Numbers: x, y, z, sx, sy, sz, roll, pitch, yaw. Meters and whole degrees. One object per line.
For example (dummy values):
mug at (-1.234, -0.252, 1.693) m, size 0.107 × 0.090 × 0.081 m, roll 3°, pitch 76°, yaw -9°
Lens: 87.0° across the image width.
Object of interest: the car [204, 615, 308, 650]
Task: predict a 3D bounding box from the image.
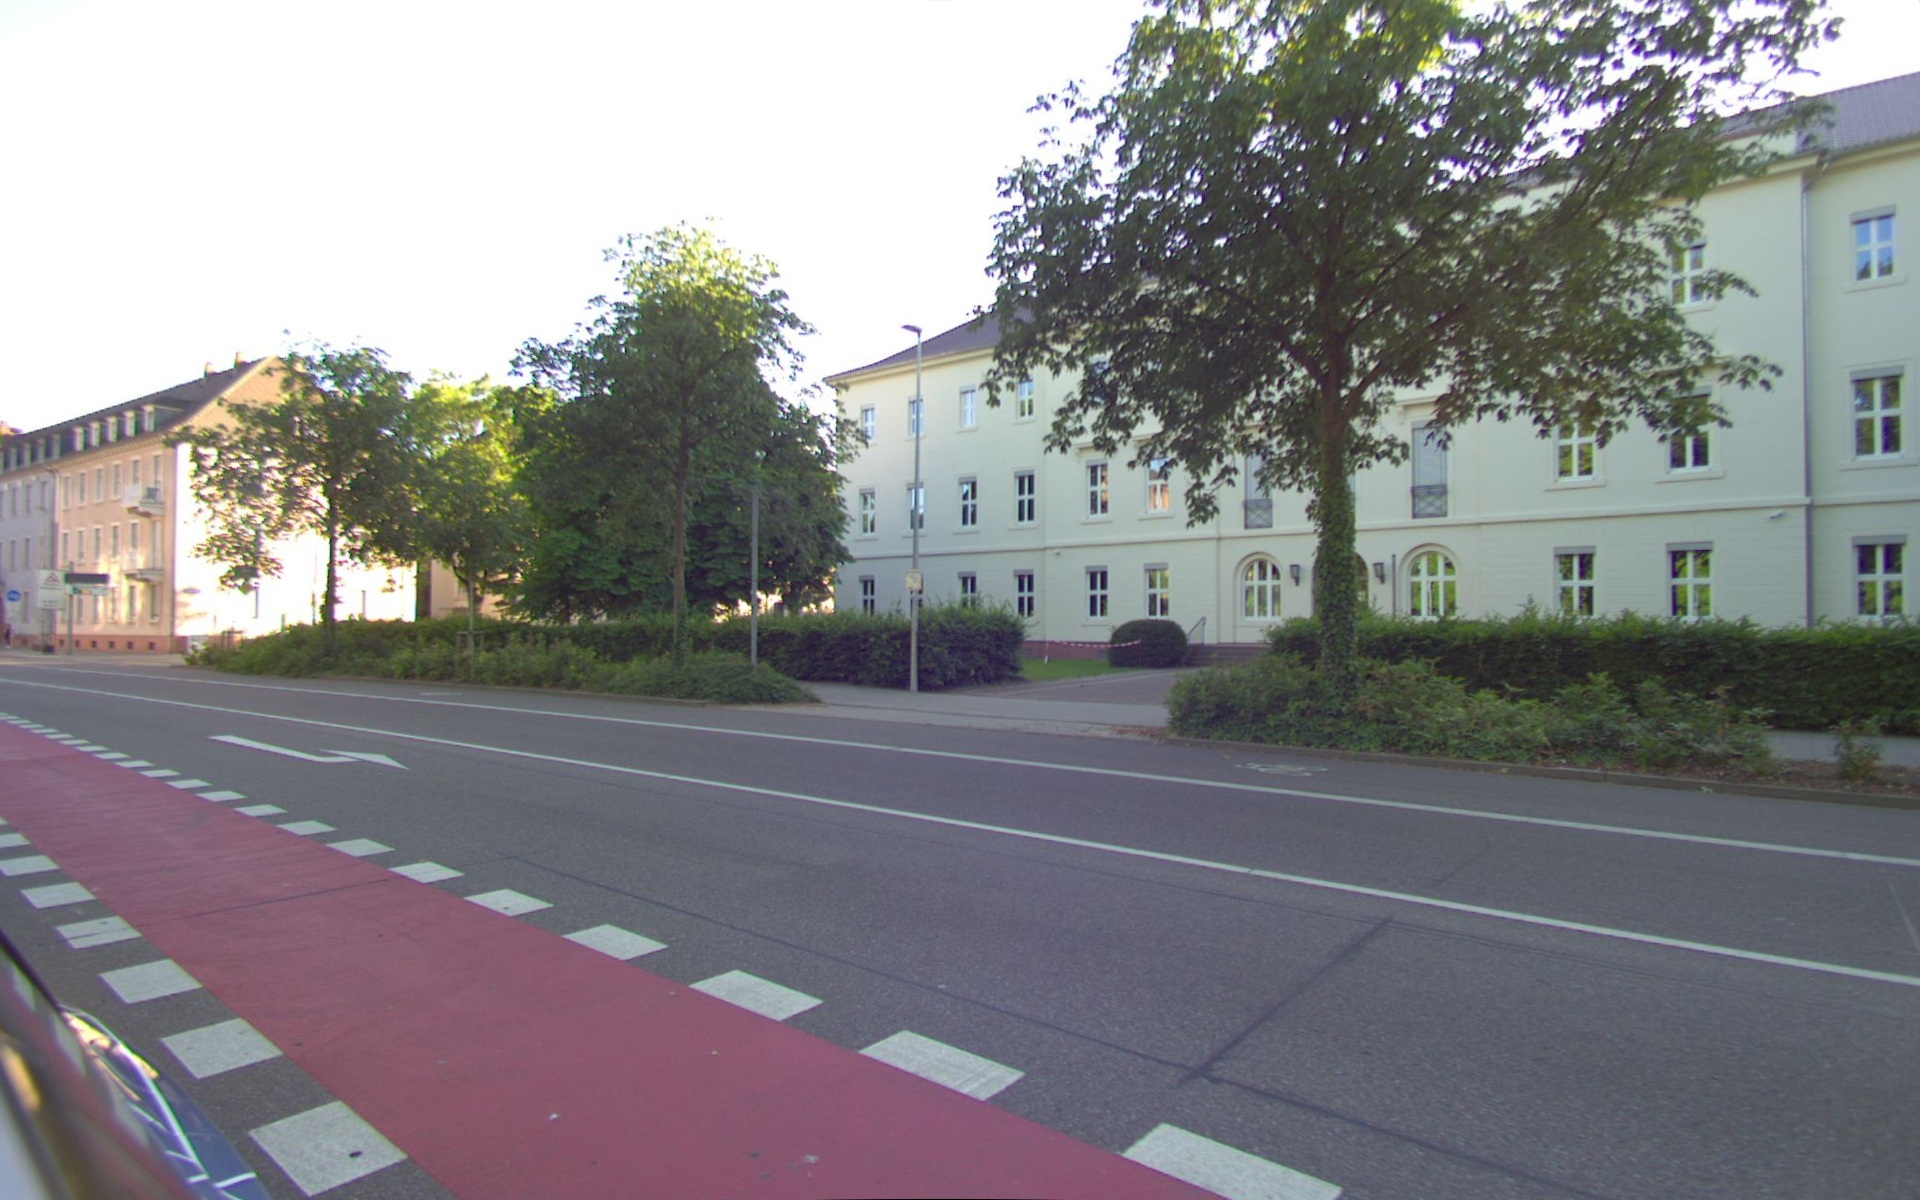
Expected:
car at (-36.087, 1.618, 51.950) m, size 1.993 × 1.674 × 3.958 m, roll -1°, pitch -1°, yaw 31°

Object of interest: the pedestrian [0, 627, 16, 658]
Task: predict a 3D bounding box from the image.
pedestrian at (-61.146, 2.698, 64.719) m, size 1.060 × 1.919 × 0.938 m, roll -1°, pitch -1°, yaw 33°
